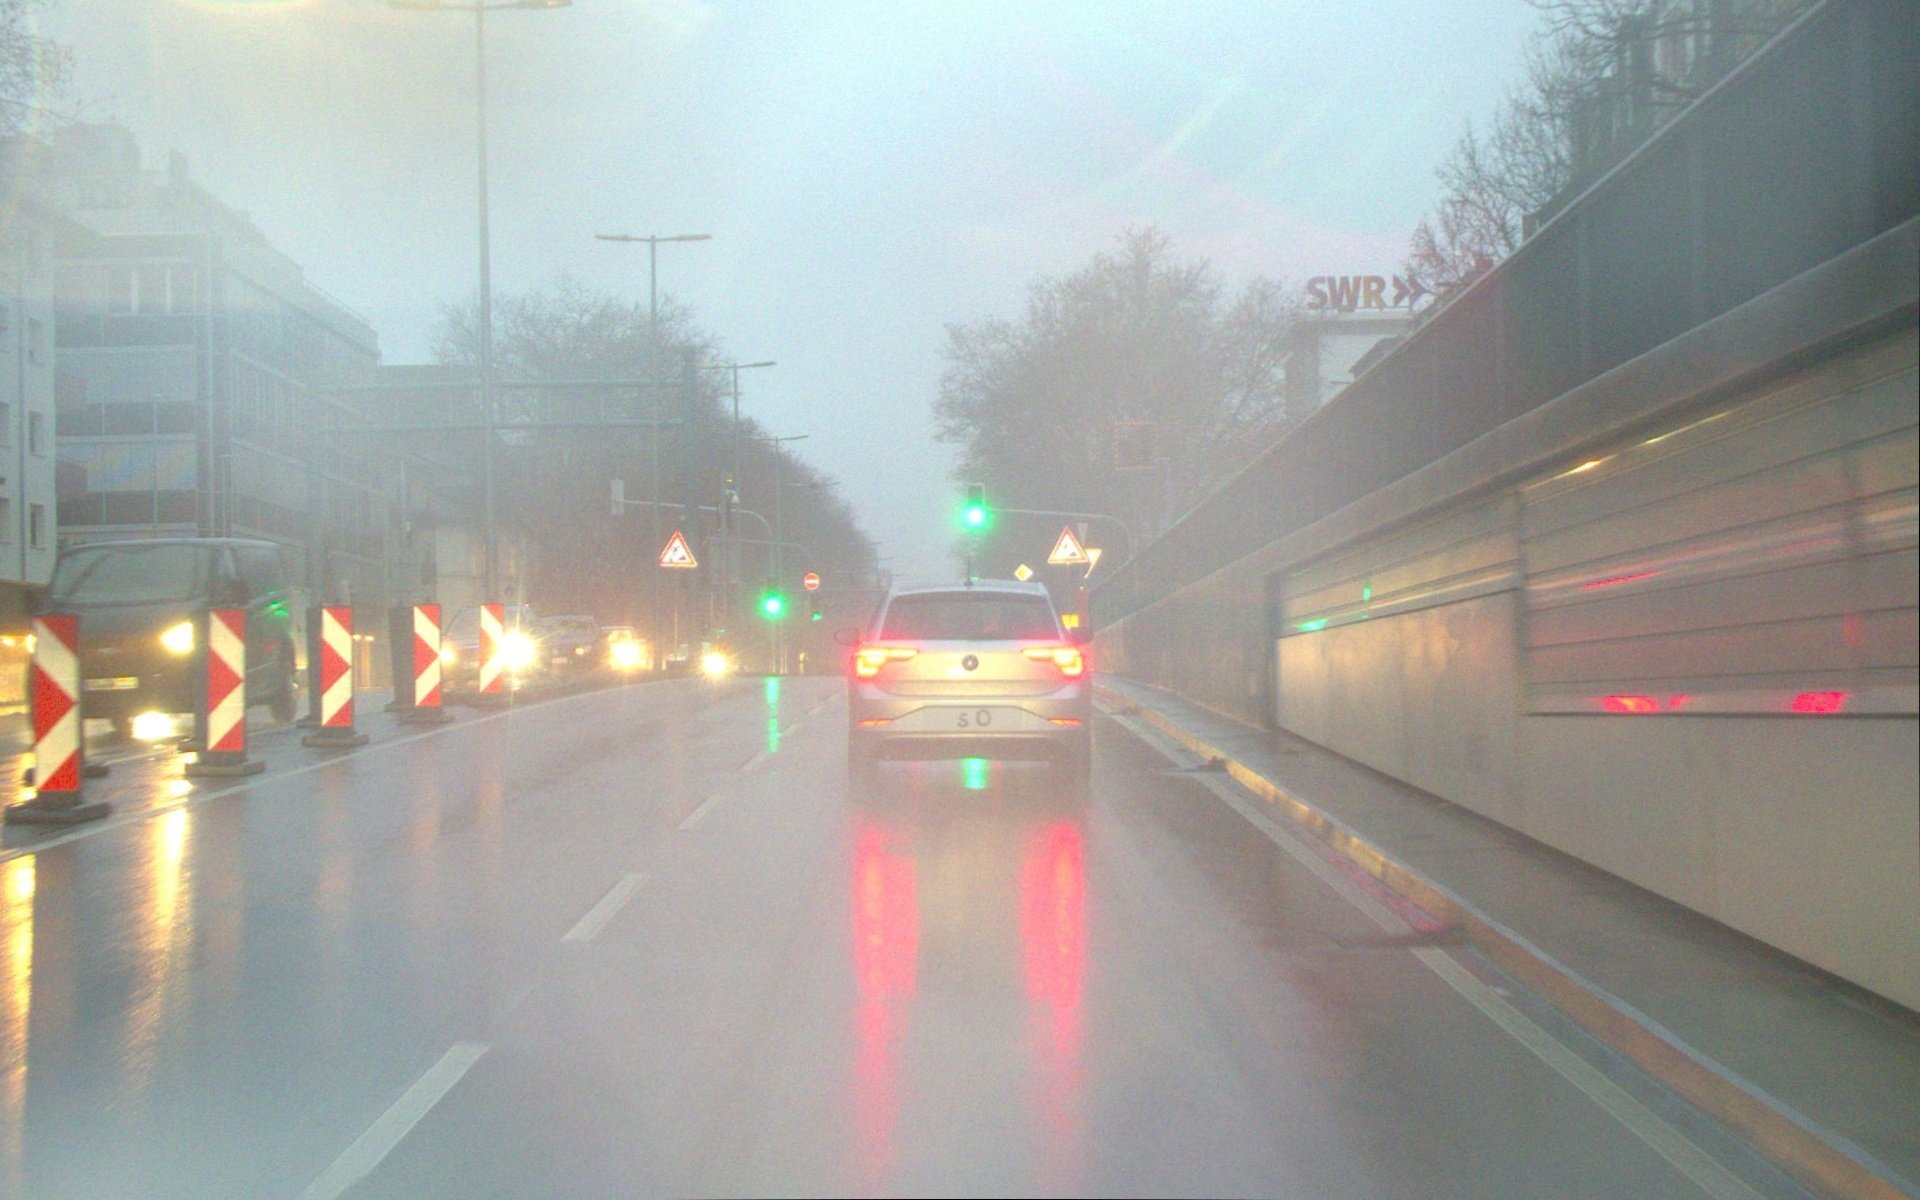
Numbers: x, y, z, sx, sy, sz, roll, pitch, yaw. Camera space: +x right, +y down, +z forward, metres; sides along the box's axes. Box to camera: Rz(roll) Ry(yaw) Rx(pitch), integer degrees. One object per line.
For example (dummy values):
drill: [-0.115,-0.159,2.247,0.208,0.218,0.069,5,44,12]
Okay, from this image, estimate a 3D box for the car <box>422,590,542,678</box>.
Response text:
car: [-8.564,0.583,61.815,1.608,1.378,3.695,-3,1,0]

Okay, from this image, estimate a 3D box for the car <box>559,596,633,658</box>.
car: [-9.046,0.657,85.712,1.496,1.378,3.434,-3,1,-1]

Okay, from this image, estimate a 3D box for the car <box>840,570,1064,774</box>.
car: [-0.061,0.522,25.302,1.532,1.392,3.433,0,-1,0]

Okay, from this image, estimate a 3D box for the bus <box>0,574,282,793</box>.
bus: [-8.337,0.773,35.184,1.674,1.959,5.175,-4,0,0]
